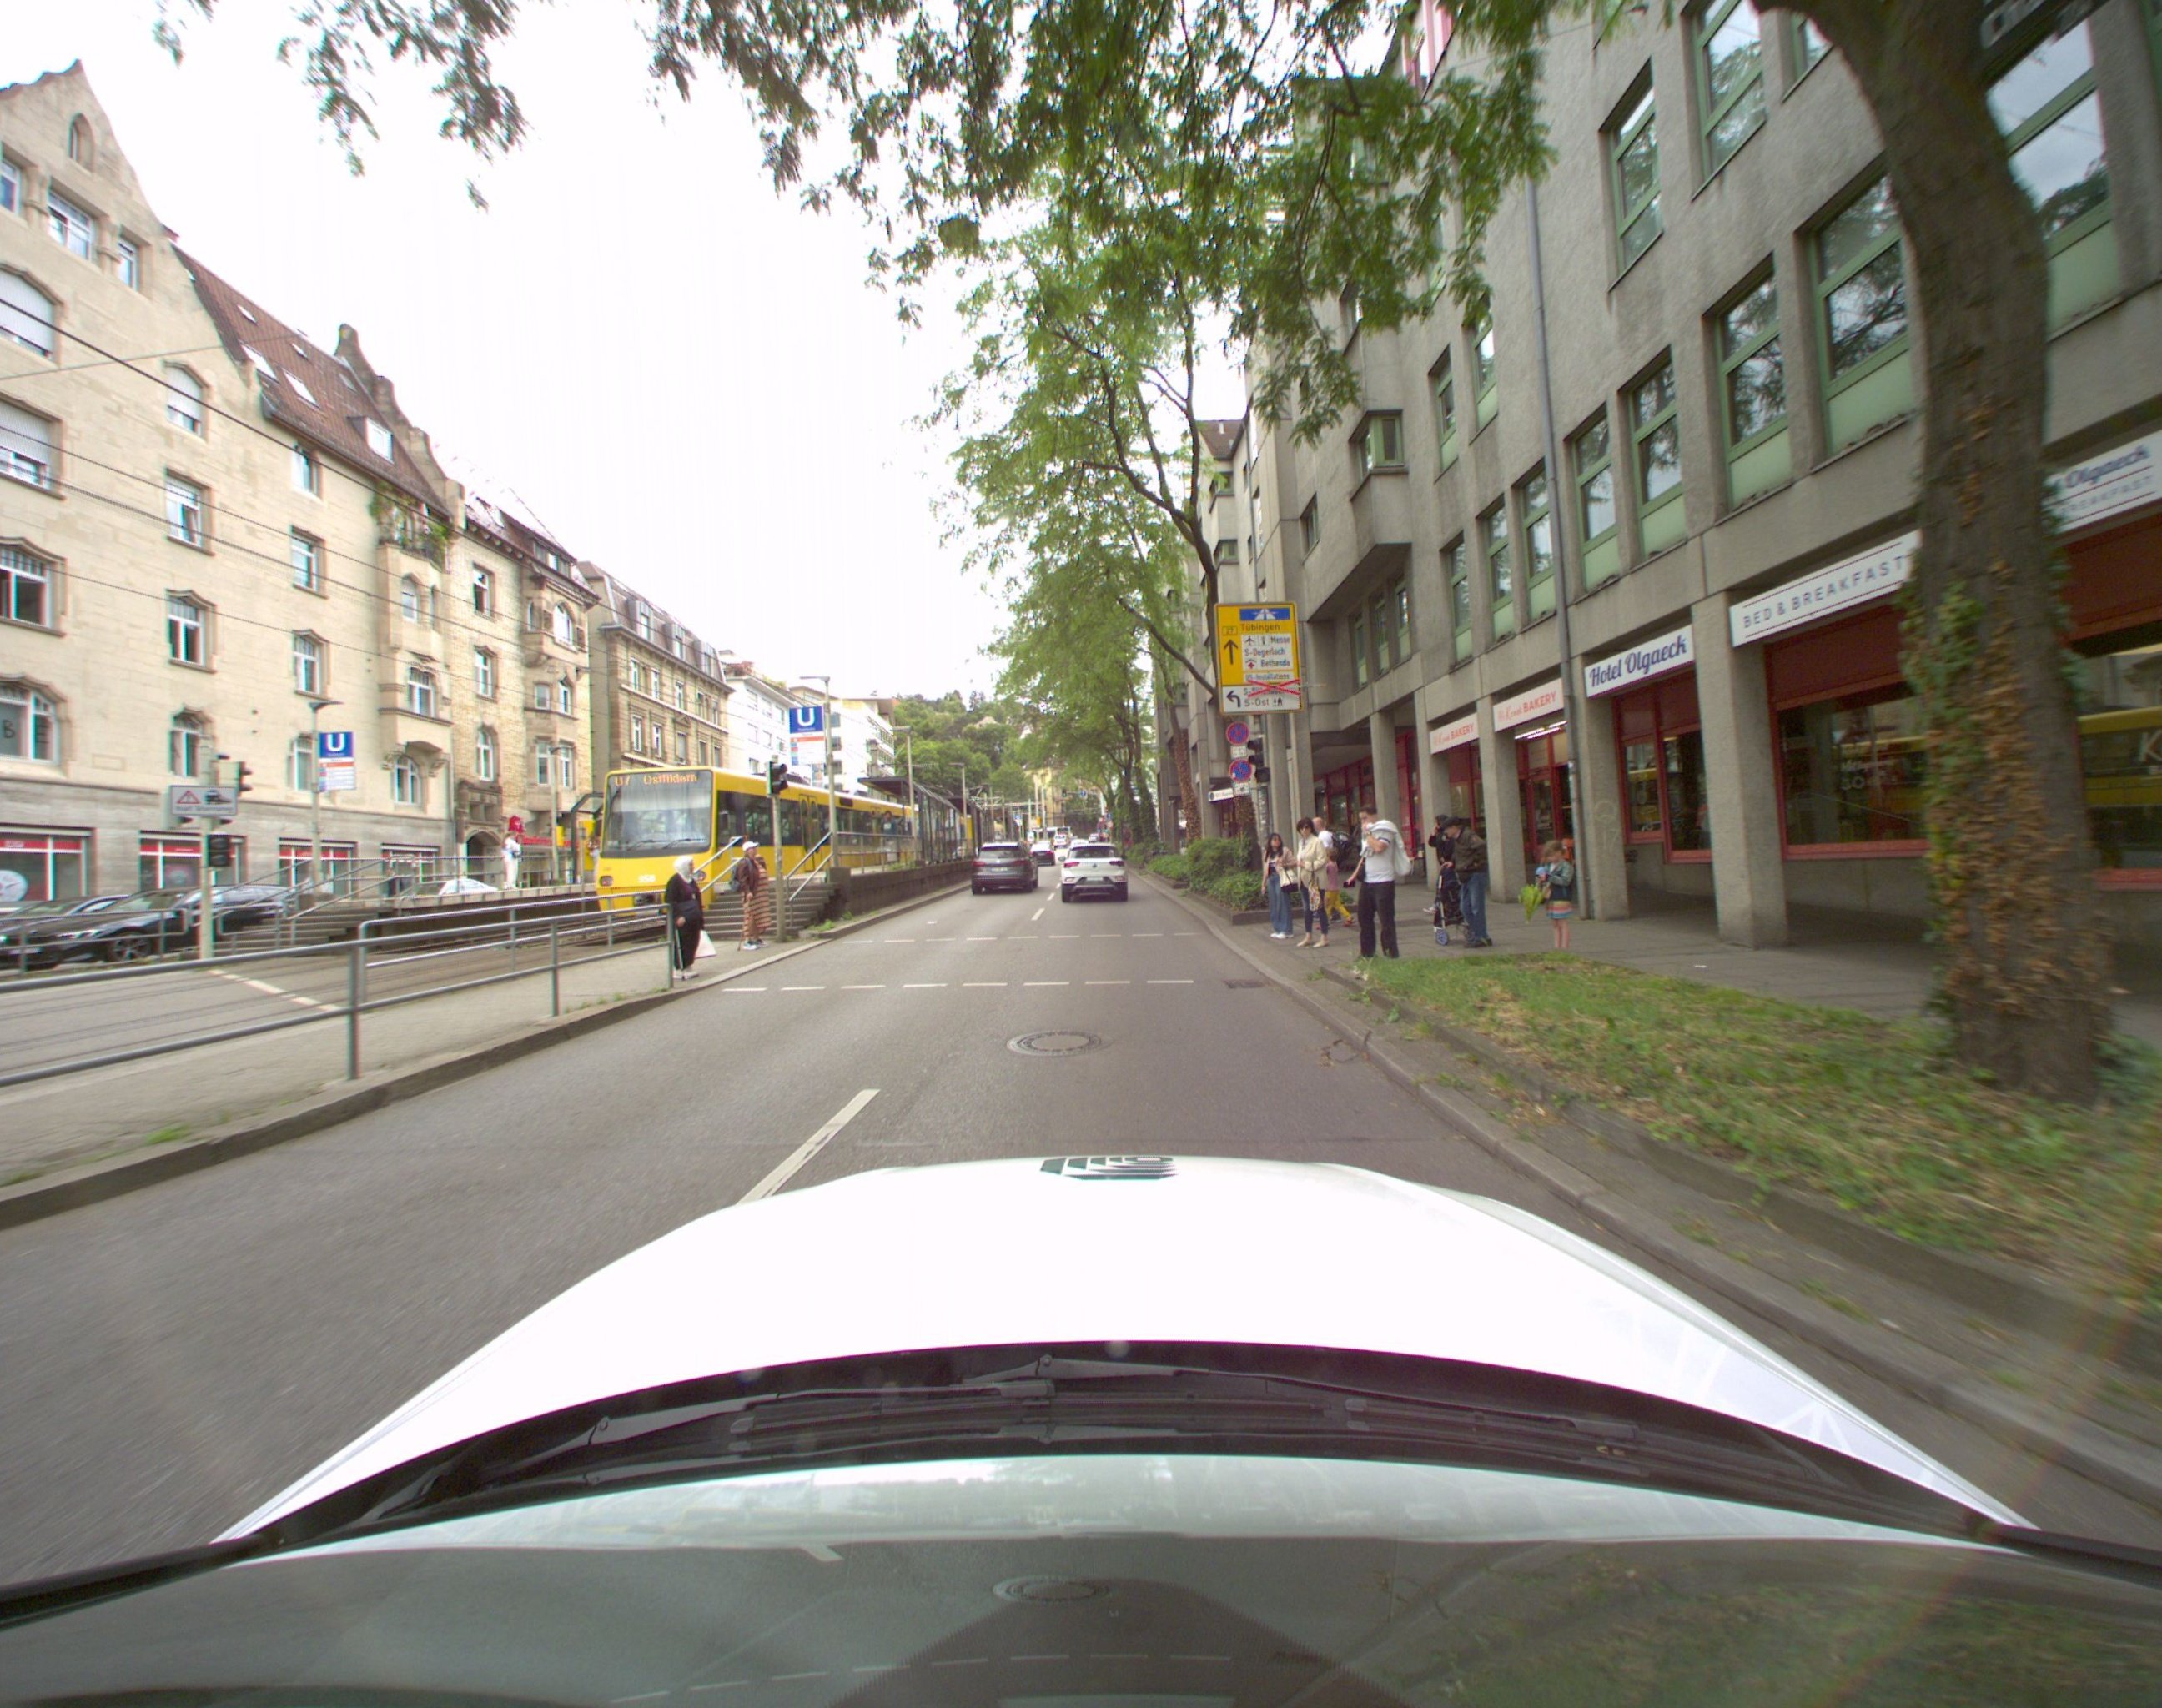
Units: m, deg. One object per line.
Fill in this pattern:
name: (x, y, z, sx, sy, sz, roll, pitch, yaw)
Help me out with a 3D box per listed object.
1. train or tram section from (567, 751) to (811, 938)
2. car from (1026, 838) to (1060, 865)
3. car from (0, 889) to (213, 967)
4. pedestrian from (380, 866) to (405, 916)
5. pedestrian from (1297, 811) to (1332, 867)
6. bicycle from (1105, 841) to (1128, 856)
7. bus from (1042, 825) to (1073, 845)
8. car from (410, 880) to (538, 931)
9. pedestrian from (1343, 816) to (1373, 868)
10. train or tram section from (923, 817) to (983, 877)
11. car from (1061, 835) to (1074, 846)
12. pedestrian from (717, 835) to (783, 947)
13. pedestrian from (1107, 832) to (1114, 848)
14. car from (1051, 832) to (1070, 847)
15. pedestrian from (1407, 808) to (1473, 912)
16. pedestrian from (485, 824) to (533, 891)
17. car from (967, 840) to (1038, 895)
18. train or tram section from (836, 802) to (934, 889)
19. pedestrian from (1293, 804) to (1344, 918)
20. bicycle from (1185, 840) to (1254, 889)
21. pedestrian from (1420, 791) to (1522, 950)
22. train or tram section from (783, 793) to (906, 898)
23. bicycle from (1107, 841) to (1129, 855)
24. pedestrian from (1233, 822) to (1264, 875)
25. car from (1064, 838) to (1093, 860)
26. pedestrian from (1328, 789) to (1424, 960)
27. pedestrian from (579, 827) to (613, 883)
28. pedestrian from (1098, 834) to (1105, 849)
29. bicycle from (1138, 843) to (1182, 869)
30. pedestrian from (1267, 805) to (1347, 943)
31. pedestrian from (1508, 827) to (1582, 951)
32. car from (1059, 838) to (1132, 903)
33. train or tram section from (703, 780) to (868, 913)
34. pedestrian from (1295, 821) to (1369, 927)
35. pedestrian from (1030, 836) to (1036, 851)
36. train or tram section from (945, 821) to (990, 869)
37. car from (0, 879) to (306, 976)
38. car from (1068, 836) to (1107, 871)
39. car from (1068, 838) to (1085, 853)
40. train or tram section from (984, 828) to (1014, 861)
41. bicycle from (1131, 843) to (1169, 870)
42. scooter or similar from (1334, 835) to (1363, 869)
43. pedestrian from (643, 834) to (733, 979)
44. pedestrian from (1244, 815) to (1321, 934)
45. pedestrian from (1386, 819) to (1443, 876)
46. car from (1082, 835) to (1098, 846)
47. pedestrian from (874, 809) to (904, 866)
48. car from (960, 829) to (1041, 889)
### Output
train or tram section: (-8.824, -0.211, 19.219, 2.825, 3.678, 5.752, -1, 0, 0)
car: (-2.513, -0.216, 54.522, 1.904, 1.689, 4.002, -1, 1, 2)
car: (-21.776, 1.576, 17.664, 1.624, 1.375, 3.788, -4, 0, 4)
pedestrian: (-25.428, 1.359, 30.062, 0.632, 1.762, 0.836, -2, -1, -43)
pedestrian: (7.846, -0.489, 27.405, 0.829, 1.803, 0.723, -4, 0, 0)
bicycle: (3.023, -0.465, 69.113, 1.869, 1.266, 0.766, -2, -1, 10)
bus: (-4.464, -3.361, 147.910, 3.374, 3.065, 13.270, -1, -1, -11)
car: (-20.622, 1.698, 27.856, 1.553, 1.523, 3.601, -2, -1, 2)
pedestrian: (9.311, -0.400, 27.372, 0.759, 1.723, 0.677, -2, 1, 2)
train or tram section: (-8.423, -0.461, 54.456, 2.803, 3.666, 6.752, -1, 0, 0)
car: (-2.221, -2.157, 133.470, 1.878, 1.684, 4.161, -2, -1, 0)
pedestrian: (-5.271, 0.578, 13.005, 0.683, 1.711, 0.711, -2, 0, 0)
pedestrian: (3.762, -1.735, 103.959, 0.758, 2.014, 0.839, -2, -1, 5)
car: (-2.972, -2.047, 118.997, 2.354, 2.014, 5.152, -2, -1, 3)
pedestrian: (5.817, 0.081, 13.229, 0.615, 1.612, 0.763, -4, 2, -4)
pedestrian: (-14.989, 0.085, 21.354, 0.686, 1.711, 0.661, -2, 0, -1)
car: (-2.556, 0.385, 27.519, 1.988, 1.635, 3.999, -2, 1, -1)
train or tram section: (-8.615, -0.359, 36.524, 2.825, 3.521, 5.752, -1, 0, 0)
pedestrian: (3.872, 0.117, 13.308, 0.517, 1.789, 0.763, -1, -1, -4)
bicycle: (3.713, 0.273, 21.853, 1.706, 1.184, 0.447, -5, 0, -8)
pedestrian: (4.733, 0.176, 9.929, 0.720, 1.802, 0.833, -5, 2, -4)
train or tram section: (-8.703, -0.306, 30.741, 2.825, 3.521, 5.752, -1, 0, 0)
bicycle: (3.196, -0.512, 70.607, 1.871, 1.137, 0.809, -2, -1, 5)
pedestrian: (5.837, -0.202, 28.409, 0.761, 1.782, 0.846, -4, 2, -5)
car: (-0.213, -0.357, 65.316, 1.883, 1.684, 4.151, -1, -1, -7)
pedestrian: (3.378, 0.227, 9.390, 0.732, 1.874, 0.732, -2, -1, -4)
pedestrian: (-15.148, 0.035, 25.447, 0.635, 1.711, 0.688, -2, 0, -9)
pedestrian: (2.746, -1.641, 109.336, 0.758, 2.014, 0.839, -2, -1, 5)
bicycle: (3.701, 0.096, 38.368, 1.911, 1.076, 0.612, -5, 0, -3)
pedestrian: (3.118, 0.266, 11.288, 0.692, 1.777, 0.688, -7, 0, -4)
pedestrian: (5.171, 0.381, 9.097, 0.470, 1.333, 0.519, -1, -1, -4)
car: (0.342, 0.378, 23.025, 1.832, 1.583, 4.155, -1, 2, -1)
train or tram section: (-8.765, -0.227, 24.986, 2.825, 3.521, 5.752, -1, 0, 0)
pedestrian: (3.852, 0.301, 12.540, 0.834, 1.563, 0.763, -1, -1, -4)
pedestrian: (-6.475, -1.390, 110.505, 0.759, 2.014, 0.838, -2, -1, 0)
train or tram section: (-9.310, -0.739, 67.732, 2.805, 3.666, 6.748, -2, 0, -1)
car: (-18.328, 1.349, 16.194, 1.901, 1.574, 4.001, -2, -1, 2)
car: (0.302, 0.018, 42.398, 1.879, 1.684, 4.160, -2, -1, 0)
car: (-0.589, -1.030, 101.051, 1.877, 1.684, 4.163, -2, -1, 2)
train or tram section: (-9.530, -1.136, 95.631, 2.805, 3.666, 6.748, -2, 0, -1)
bicycle: (3.154, 0.110, 37.143, 1.613, 1.128, 0.614, -5, 0, 3)
scooter or similar: (9.260, -0.058, 28.228, 0.849, 1.110, 0.768, -4, -1, 16)
pedestrian: (-4.906, 0.625, 10.214, 0.633, 1.711, 0.871, -2, 0, 0)
pedestrian: (3.056, 0.298, 12.420, 0.834, 1.704, 0.763, -4, 0, -4)
pedestrian: (8.595, -0.175, 20.995, 1.055, 1.363, 0.755, -5, 1, -7)
car: (1.485, -2.265, 136.714, 1.884, 1.684, 4.147, -1, -1, -9)
pedestrian: (-5.937, -0.511, 25.180, 0.715, 1.731, 0.671, -2, -1, 1)
car: (-2.921, 0.195, 30.930, 2.356, 2.014, 5.150, -2, -1, 2)
